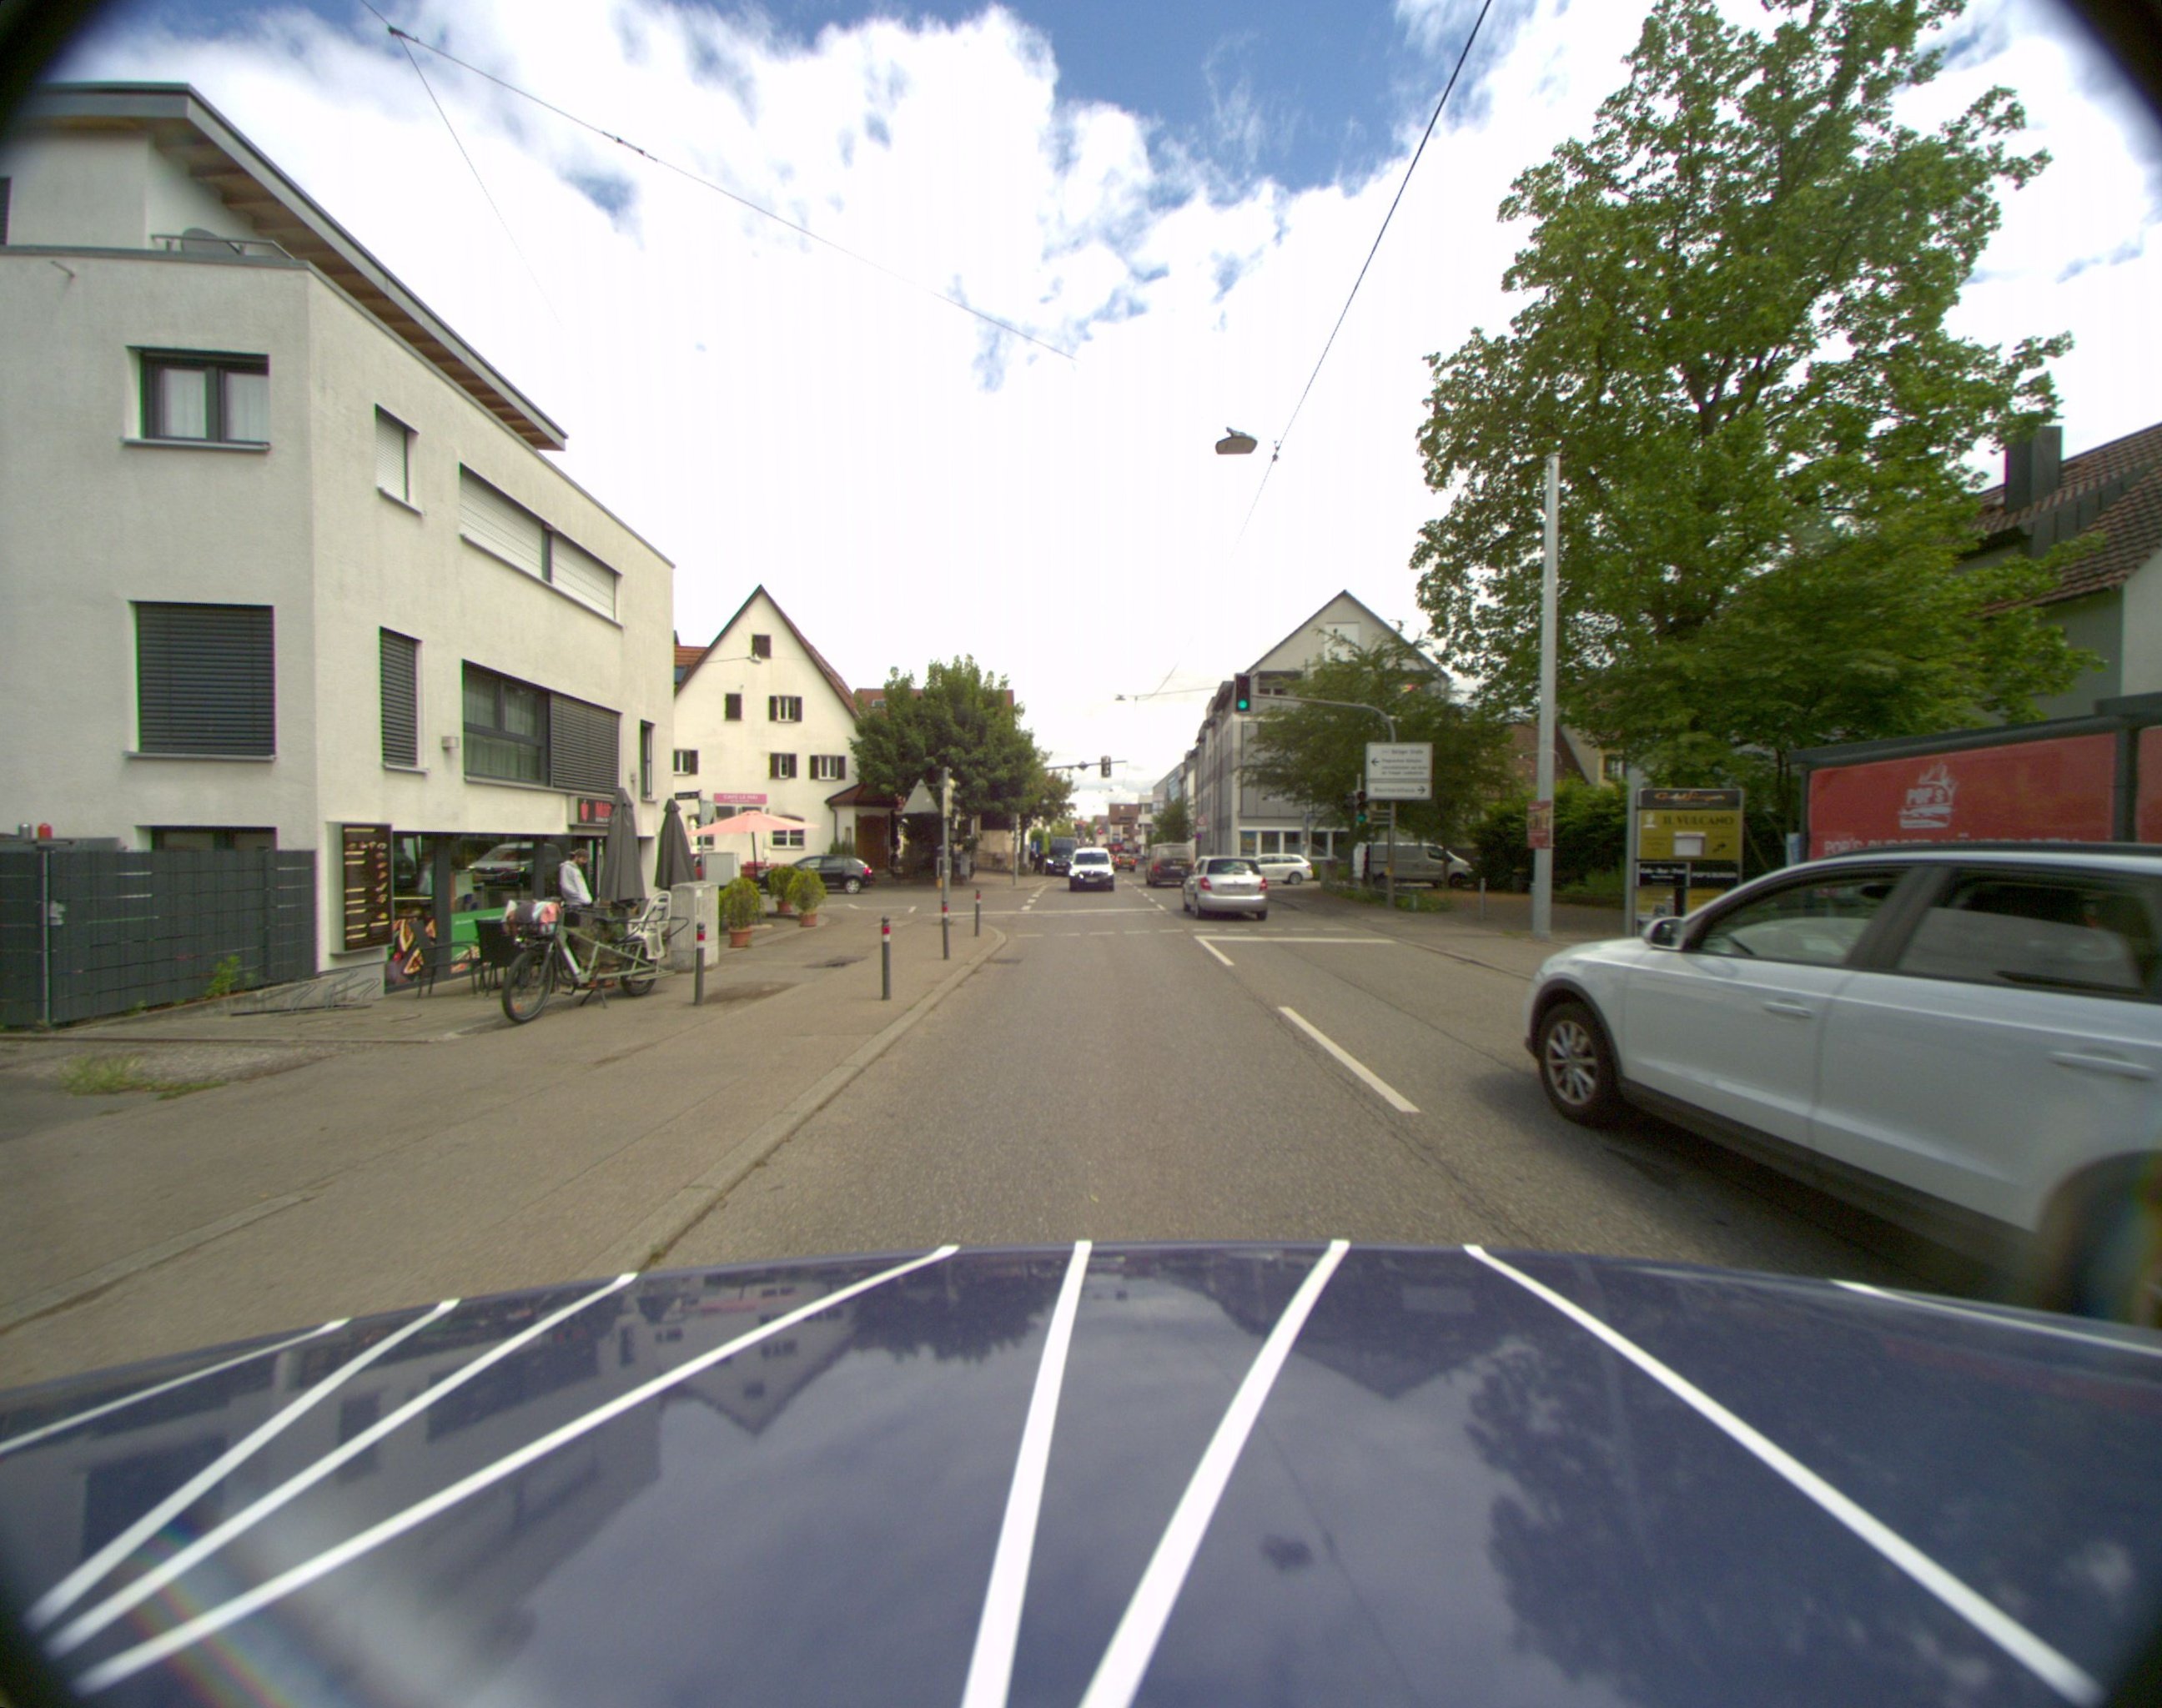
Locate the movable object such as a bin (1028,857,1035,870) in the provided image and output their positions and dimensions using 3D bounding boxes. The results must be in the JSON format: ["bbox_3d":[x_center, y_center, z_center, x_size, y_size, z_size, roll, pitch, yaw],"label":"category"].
[{"bbox_3d":[-3.608,0.719,55.685,0.410,0.933,0.273,4,1,-10],"label":"movable object such as a bin"}]

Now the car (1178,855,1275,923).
[{"bbox_3d":[3.446,0.780,18.646,1.621,1.478,3.812,0,0,-1],"label":"car"}]

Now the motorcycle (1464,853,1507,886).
[{"bbox_3d":[17.242,0.646,32.450,0.843,1.325,2.135,0,1,4],"label":"motorcycle"}]

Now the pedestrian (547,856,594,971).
[{"bbox_3d":[-8.095,0.922,12.067,0.429,1.752,0.674,-1,2,-19],"label":"pedestrian"}]

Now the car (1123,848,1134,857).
[{"bbox_3d":[9.273,-0.294,148.615,1.808,1.521,4.001,0,1,7],"label":"car"}]

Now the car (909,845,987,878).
[{"bbox_3d":[-6.721,0.416,38.725,1.752,1.508,4.087,4,1,26],"label":"car"}]

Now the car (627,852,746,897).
[{"bbox_3d":[-14.015,0.700,27.145,3.426,1.478,1.650,0,1,-12],"label":"car"}]

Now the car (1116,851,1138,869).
[{"bbox_3d":[4.018,0.527,67.093,1.732,1.529,4.000,0,0,1],"label":"car"}]

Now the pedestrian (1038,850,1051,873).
[{"bbox_3d":[-2.667,0.561,55.632,0.786,1.633,0.798,0,1,7],"label":"pedestrian"}]

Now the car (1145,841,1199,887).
[{"bbox_3d":[4.042,0.412,34.609,1.882,1.901,4.751,-1,0,0],"label":"car"}]

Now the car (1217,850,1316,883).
[{"bbox_3d":[8.690,0.584,35.844,4.222,1.504,1.822,-1,0,1],"label":"car"}]

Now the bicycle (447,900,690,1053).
[{"bbox_3d":[-4.976,1.117,7.633,0.722,1.144,2.214,0,1,7],"label":"bicycle"}]

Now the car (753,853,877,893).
[{"bbox_3d":[-9.736,0.720,28.153,4.187,1.407,1.777,1,-1,-15],"label":"car"}]

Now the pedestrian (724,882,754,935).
[{"bbox_3d":[-7.491,1.182,16.662,0.568,1.082,0.633,-1,1,-23],"label":"pedestrian"}]

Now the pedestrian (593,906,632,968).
[{"bbox_3d":[-7.574,1.334,12.290,0.420,0.933,0.497,-1,1,-19],"label":"pedestrian"}]

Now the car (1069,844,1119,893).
[{"bbox_3d":[0.500,0.526,30.936,1.871,1.805,5.006,0,0,1],"label":"car"}]

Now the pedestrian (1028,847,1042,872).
[{"bbox_3d":[-3.290,0.421,54.416,0.741,1.772,0.900,0,1,10],"label":"pedestrian"}]

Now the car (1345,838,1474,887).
[{"bbox_3d":[13.950,0.338,32.458,4.633,1.997,2.095,-1,1,-1],"label":"car"}]

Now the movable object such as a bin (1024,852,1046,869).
[{"bbox_3d":[-3.455,0.508,56.894,1.188,1.258,1.206,0,1,-30],"label":"movable object such as a bin"}]

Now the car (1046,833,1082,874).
[{"bbox_3d":[-1.133,-0.066,54.671,2.152,2.754,6.250,0,0,3],"label":"car"}]
